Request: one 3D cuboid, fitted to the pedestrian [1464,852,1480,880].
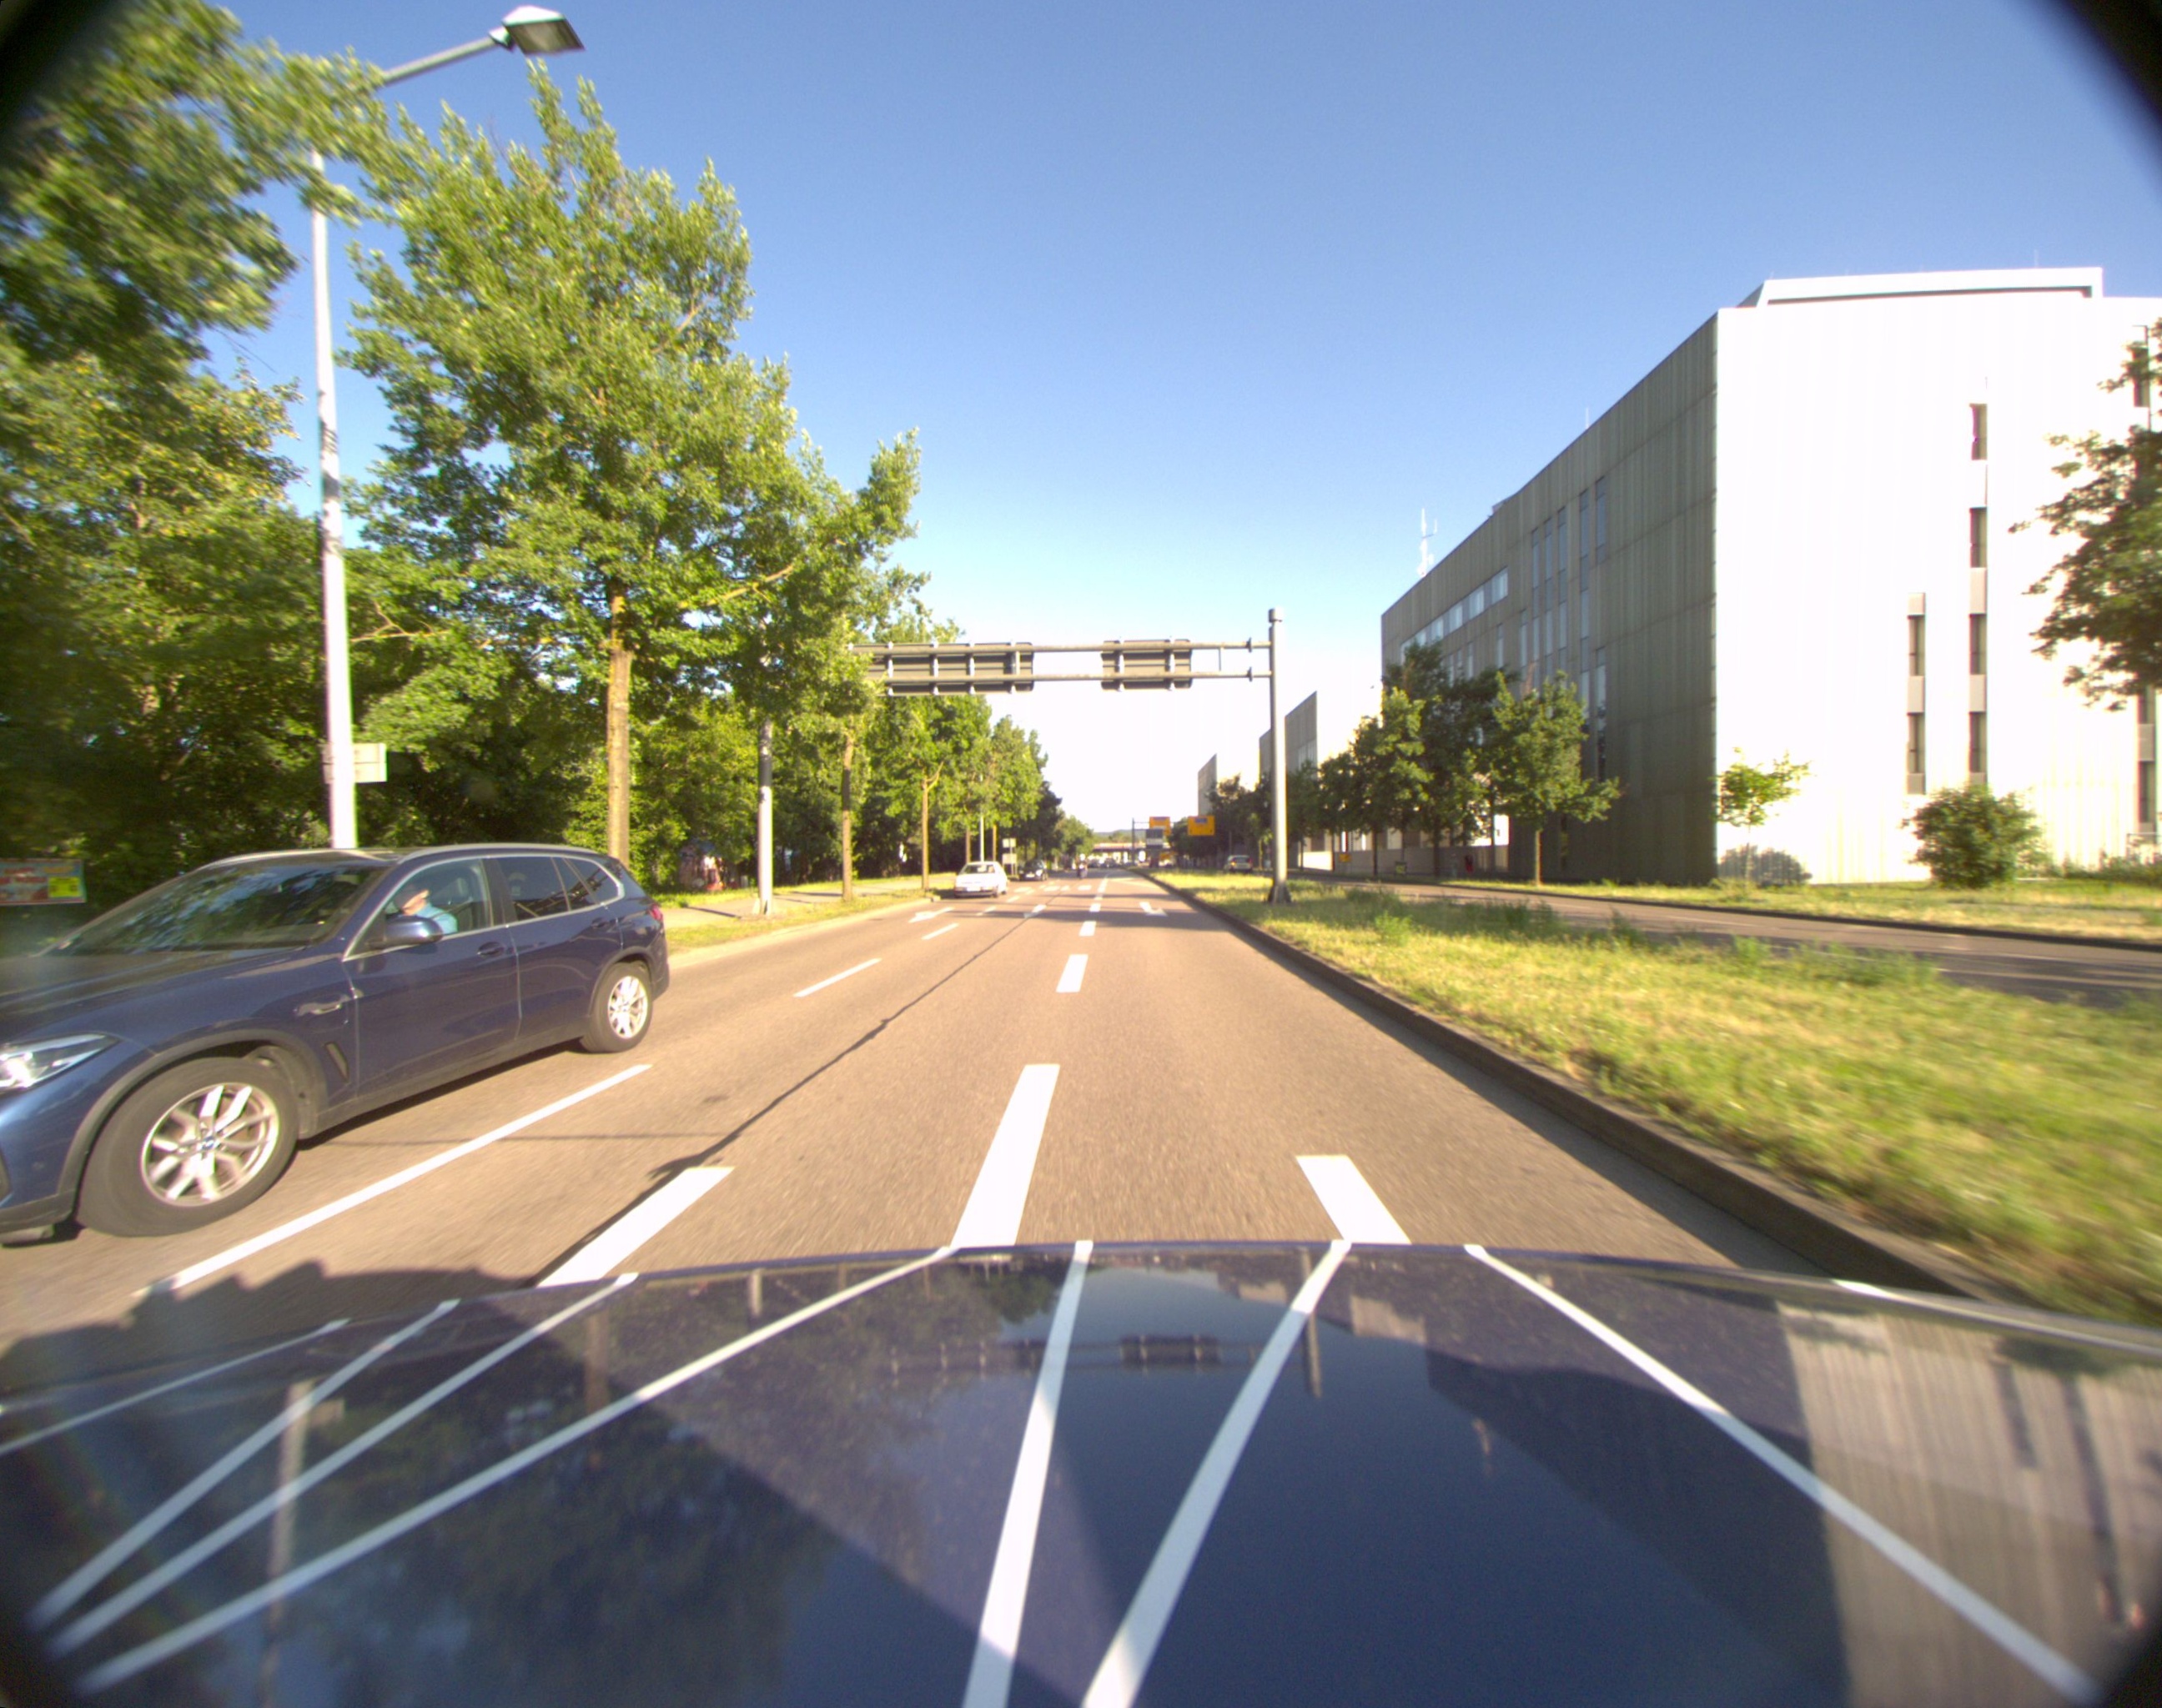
[{"bbox_3d":[25.420,0.790,49.398,0.634,1.830,0.717,0,0,4],"label":"pedestrian"}]

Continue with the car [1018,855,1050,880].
[{"bbox_3d":[-3.132,0.911,50.994,1.725,1.490,4.215,-2,-1,2],"label":"car"}]

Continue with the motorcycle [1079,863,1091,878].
[{"bbox_3d":[0.253,1.119,51.110,0.749,0.977,2.140,0,0,1],"label":"motorcycle"}]

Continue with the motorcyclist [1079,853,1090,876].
[{"bbox_3d":[0.257,0.701,51.293,0.734,1.503,0.919,0,0,1],"label":"motorcyclist"}]

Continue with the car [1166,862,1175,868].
[{"bbox_3d":[23.656,2.880,200.578,1.600,1.503,3.866,0,-1,-5],"label":"car"}]

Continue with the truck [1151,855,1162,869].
[{"bbox_3d":[22.075,2.280,221.220,3.004,3.788,10.095,-1,-1,6],"label":"truck"}]

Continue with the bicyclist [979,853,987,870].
[{"bbox_3d":[-9.042,0.695,70.212,0.614,1.493,0.848,-1,0,4],"label":"bicyclist"}]

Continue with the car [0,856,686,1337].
[{"bbox_3d":[-4.834,0.913,4.846,1.959,1.717,4.700,-1,0,2],"label":"car"}]

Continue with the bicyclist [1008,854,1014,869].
[{"bbox_3d":[-8.018,0.893,86.891,0.604,1.723,0.848,-1,0,4],"label":"bicyclist"}]

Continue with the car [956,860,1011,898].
[{"bbox_3d":[-3.873,1.000,30.670,1.615,1.390,4.039,-1,-1,1],"label":"car"}]

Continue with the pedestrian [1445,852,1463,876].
[{"bbox_3d":[24.584,0.652,50.101,0.778,1.592,0.909,0,0,4],"label":"pedestrian"}]

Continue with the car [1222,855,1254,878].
[{"bbox_3d":[11.023,0.873,53.606,1.566,1.565,3.412,0,0,0],"label":"car"}]

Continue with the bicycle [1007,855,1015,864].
[{"bbox_3d":[-8.010,0.661,86.912,0.618,0.968,2.059,-1,0,4],"label":"bicycle"}]
